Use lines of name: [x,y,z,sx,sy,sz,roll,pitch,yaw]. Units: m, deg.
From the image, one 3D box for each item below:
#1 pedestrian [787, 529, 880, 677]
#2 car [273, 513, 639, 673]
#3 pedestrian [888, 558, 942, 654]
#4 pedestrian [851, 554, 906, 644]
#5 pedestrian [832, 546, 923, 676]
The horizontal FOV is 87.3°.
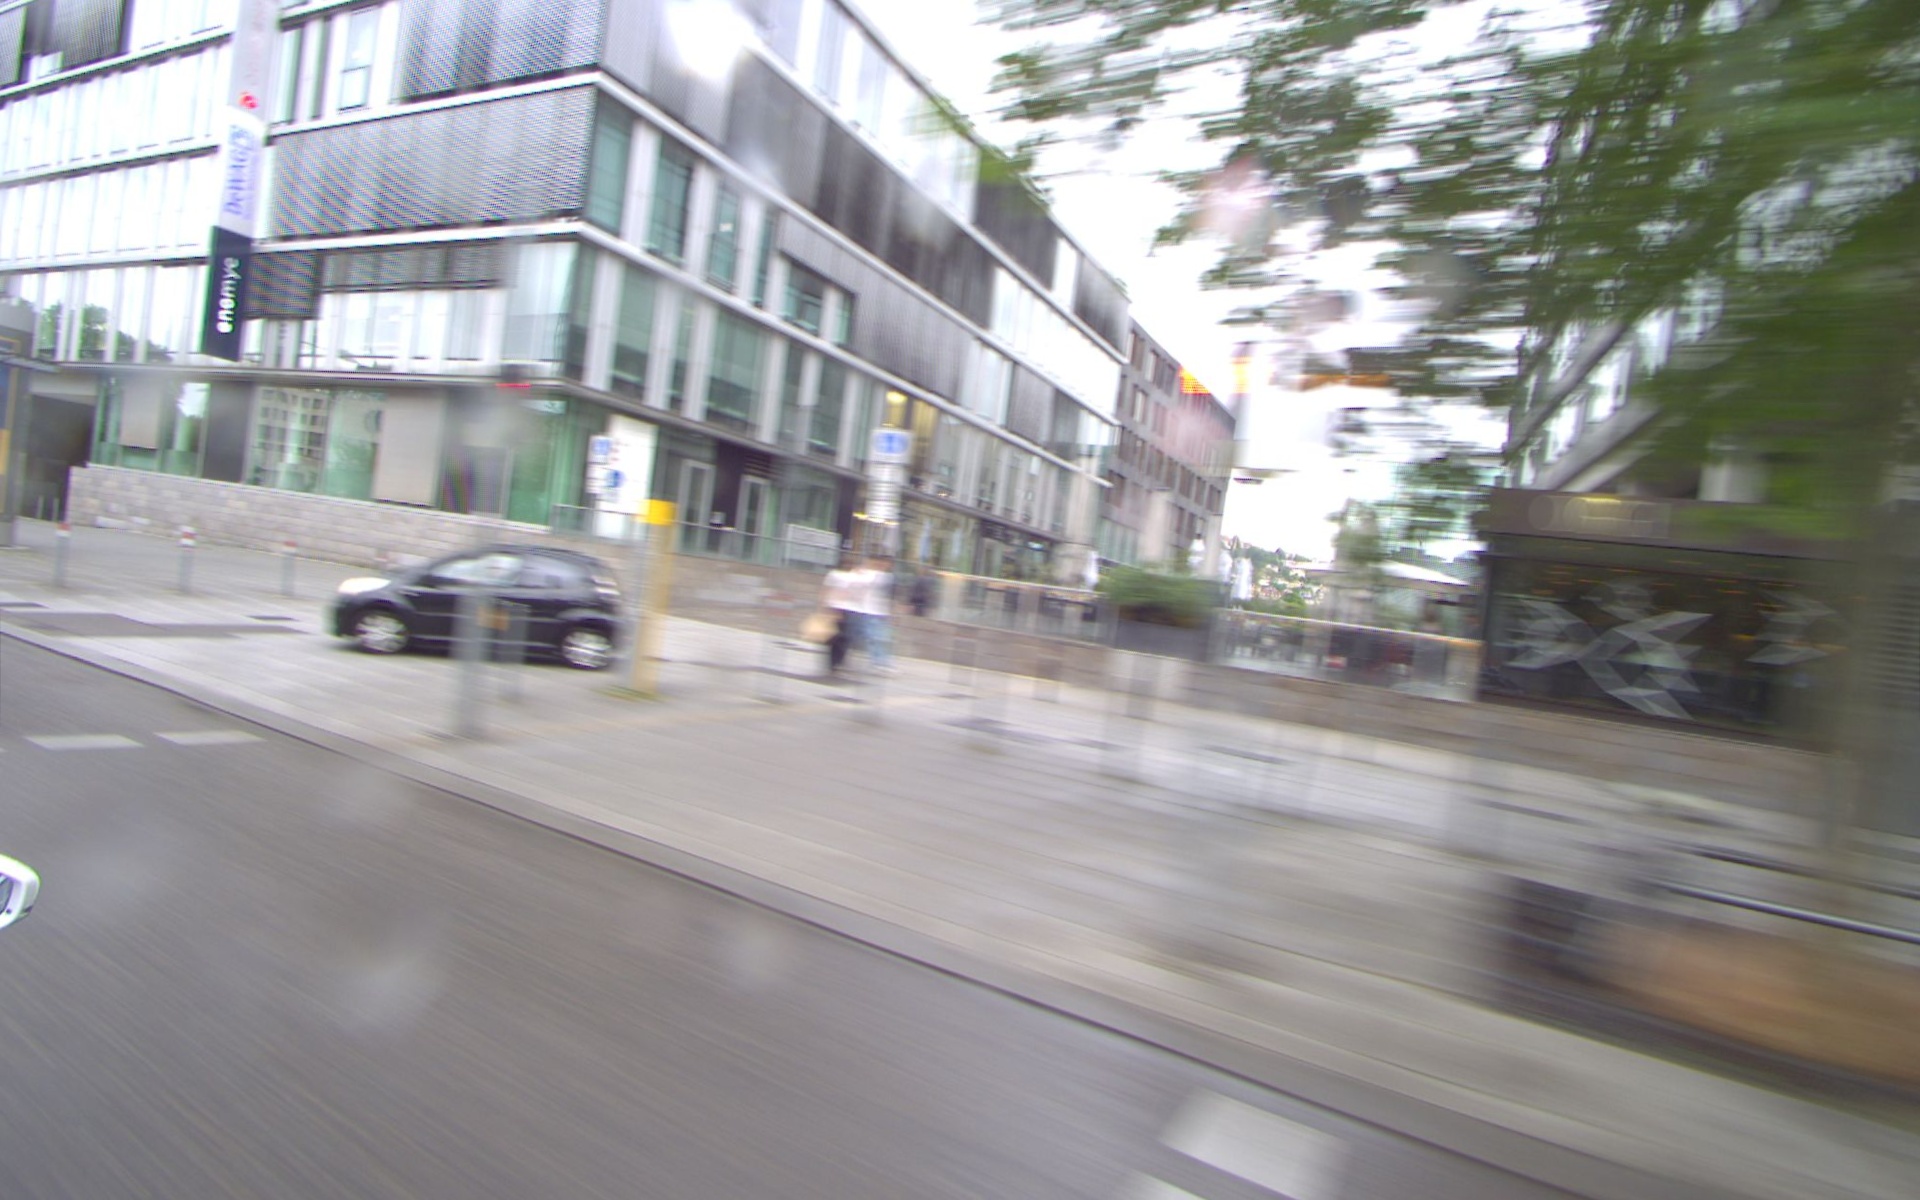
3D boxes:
pedestrian: [-1.880,0.048,14.939,0.743,2.064,0.848,8,1,44]
car: [-6.100,-0.063,12.654,3.780,1.434,1.628,7,0,-19]
pedestrian: [-0.907,0.130,20.421,0.669,1.845,0.651,8,1,21]
pedestrian: [-1.685,-0.011,20.849,0.766,1.747,0.645,8,1,15]
pedestrian: [-1.289,0.177,15.724,0.885,1.892,0.800,8,1,39]
